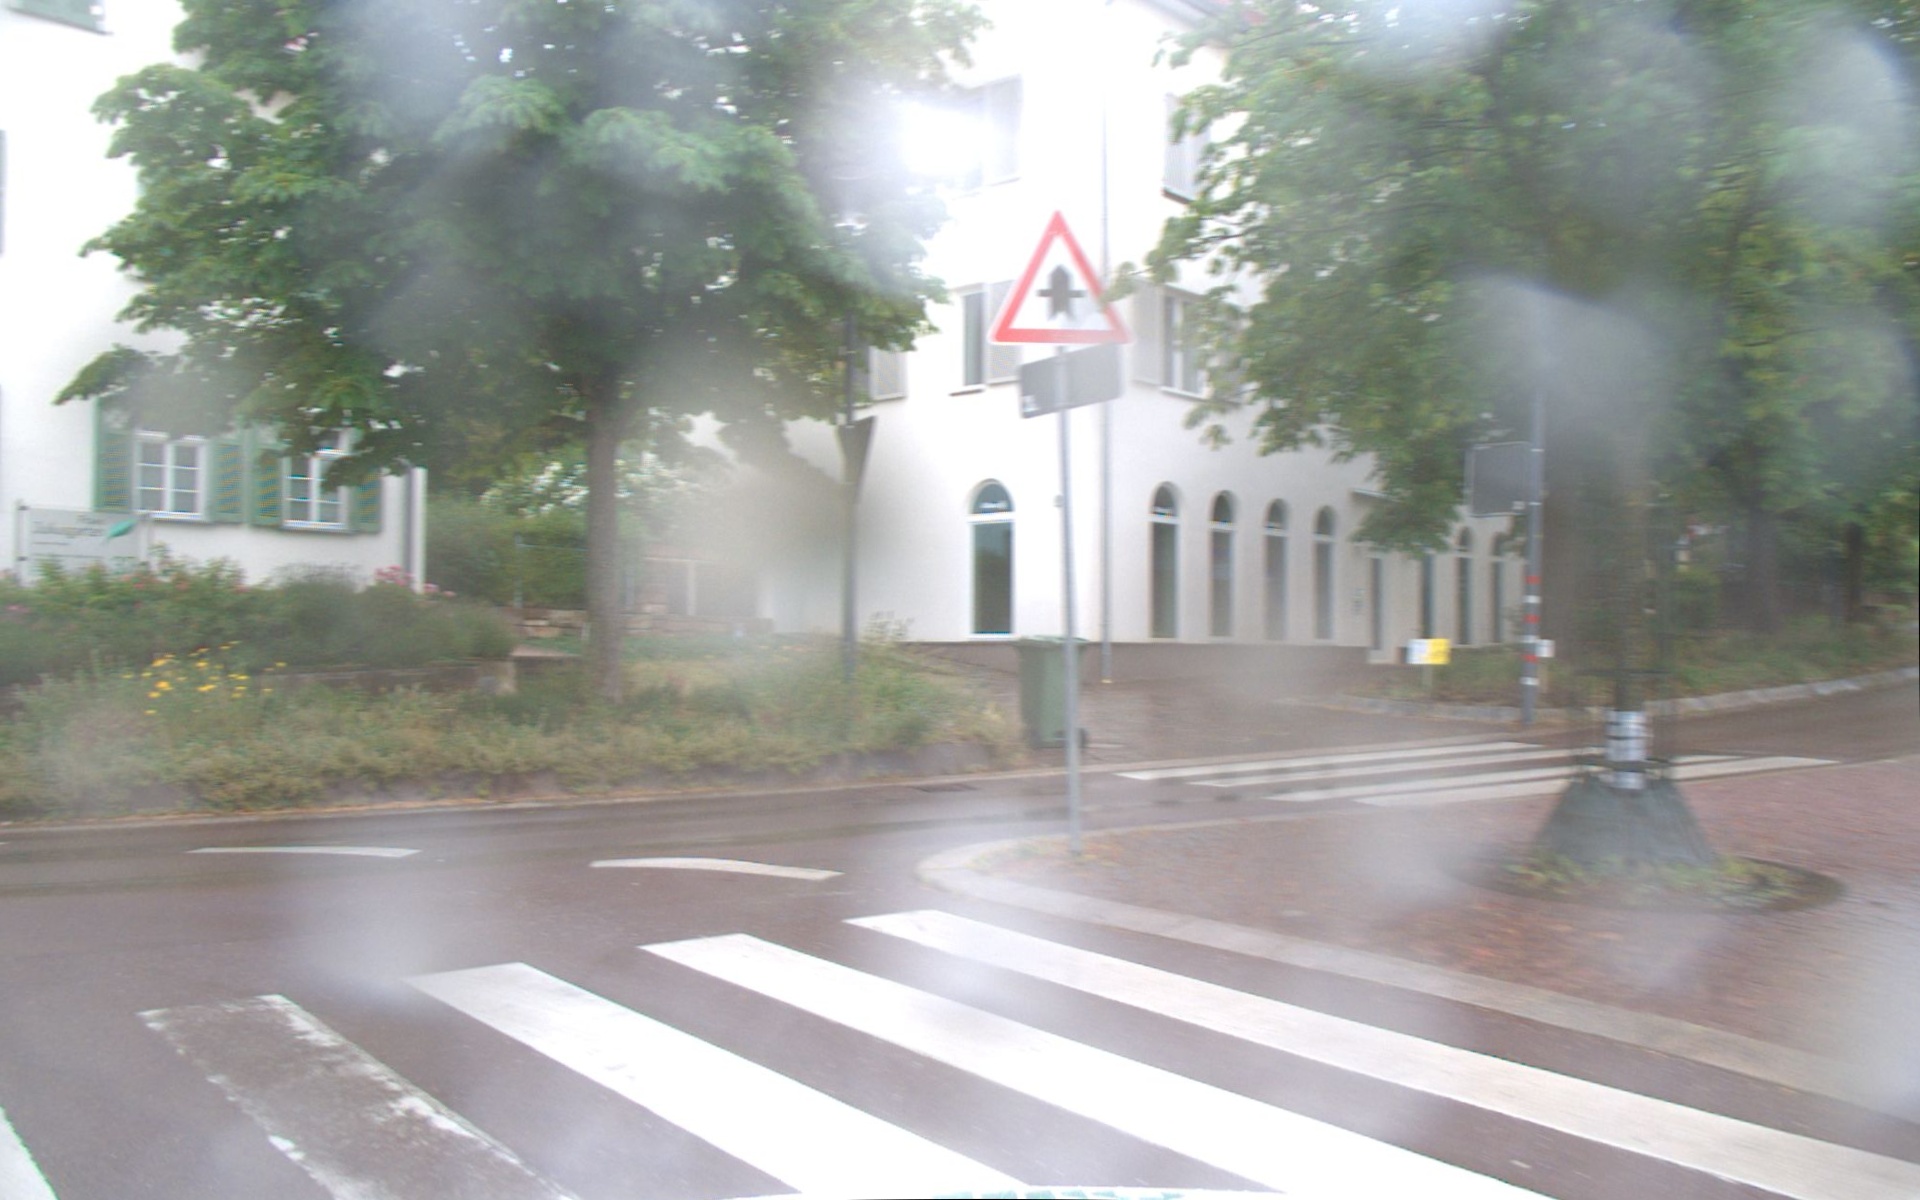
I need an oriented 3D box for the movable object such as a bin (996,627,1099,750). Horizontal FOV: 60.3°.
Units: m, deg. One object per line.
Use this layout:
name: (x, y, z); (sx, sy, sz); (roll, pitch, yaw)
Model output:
movable object such as a bin: (0.842, 0.844, 15.963); (0.645, 1.144, 0.727); (0, -2, -44)
